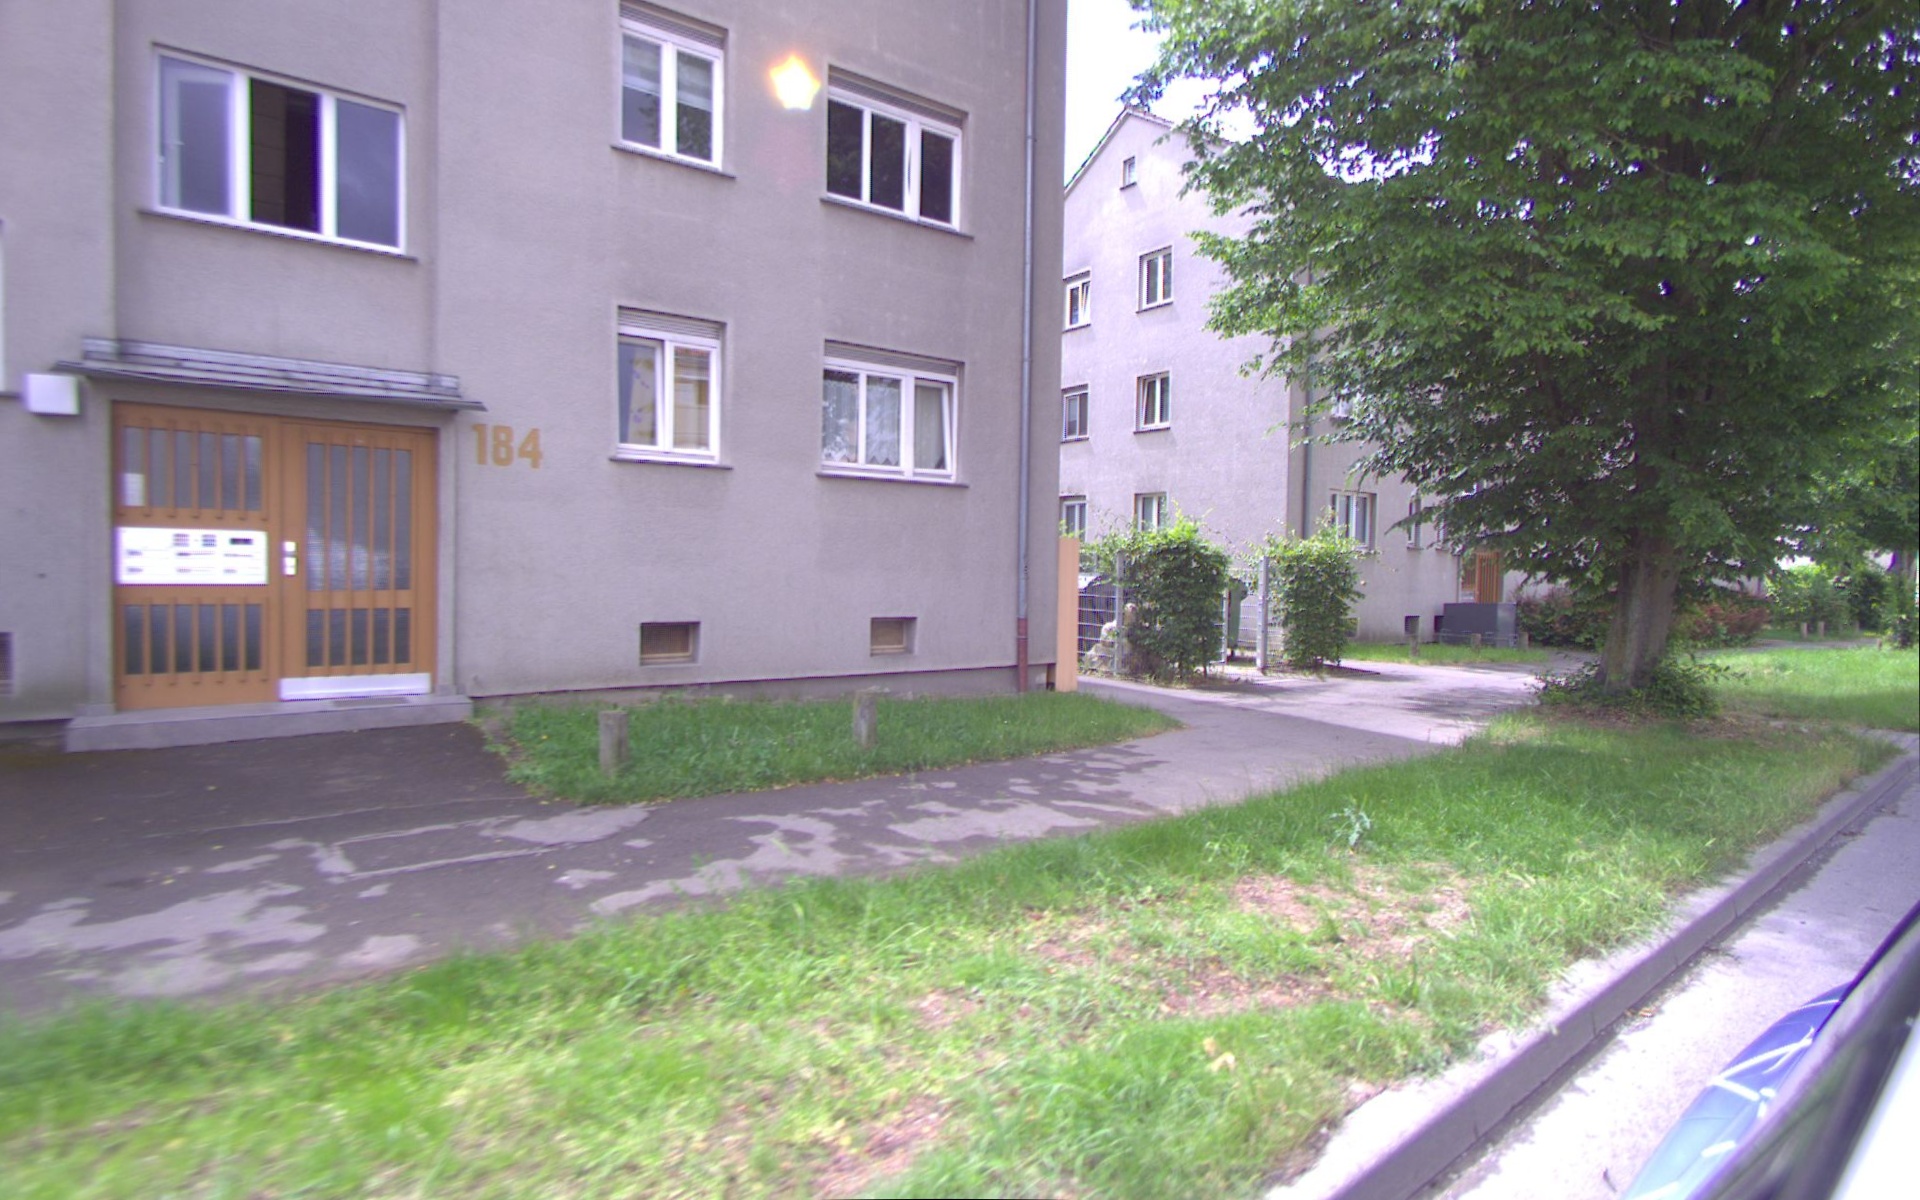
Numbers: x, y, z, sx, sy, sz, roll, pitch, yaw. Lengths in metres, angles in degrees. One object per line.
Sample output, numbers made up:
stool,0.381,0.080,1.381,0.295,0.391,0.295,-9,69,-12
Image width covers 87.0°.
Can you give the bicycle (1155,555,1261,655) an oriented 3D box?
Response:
bicycle,4.164,0.058,17.038,1.052,1.593,1.351,0,2,-38
